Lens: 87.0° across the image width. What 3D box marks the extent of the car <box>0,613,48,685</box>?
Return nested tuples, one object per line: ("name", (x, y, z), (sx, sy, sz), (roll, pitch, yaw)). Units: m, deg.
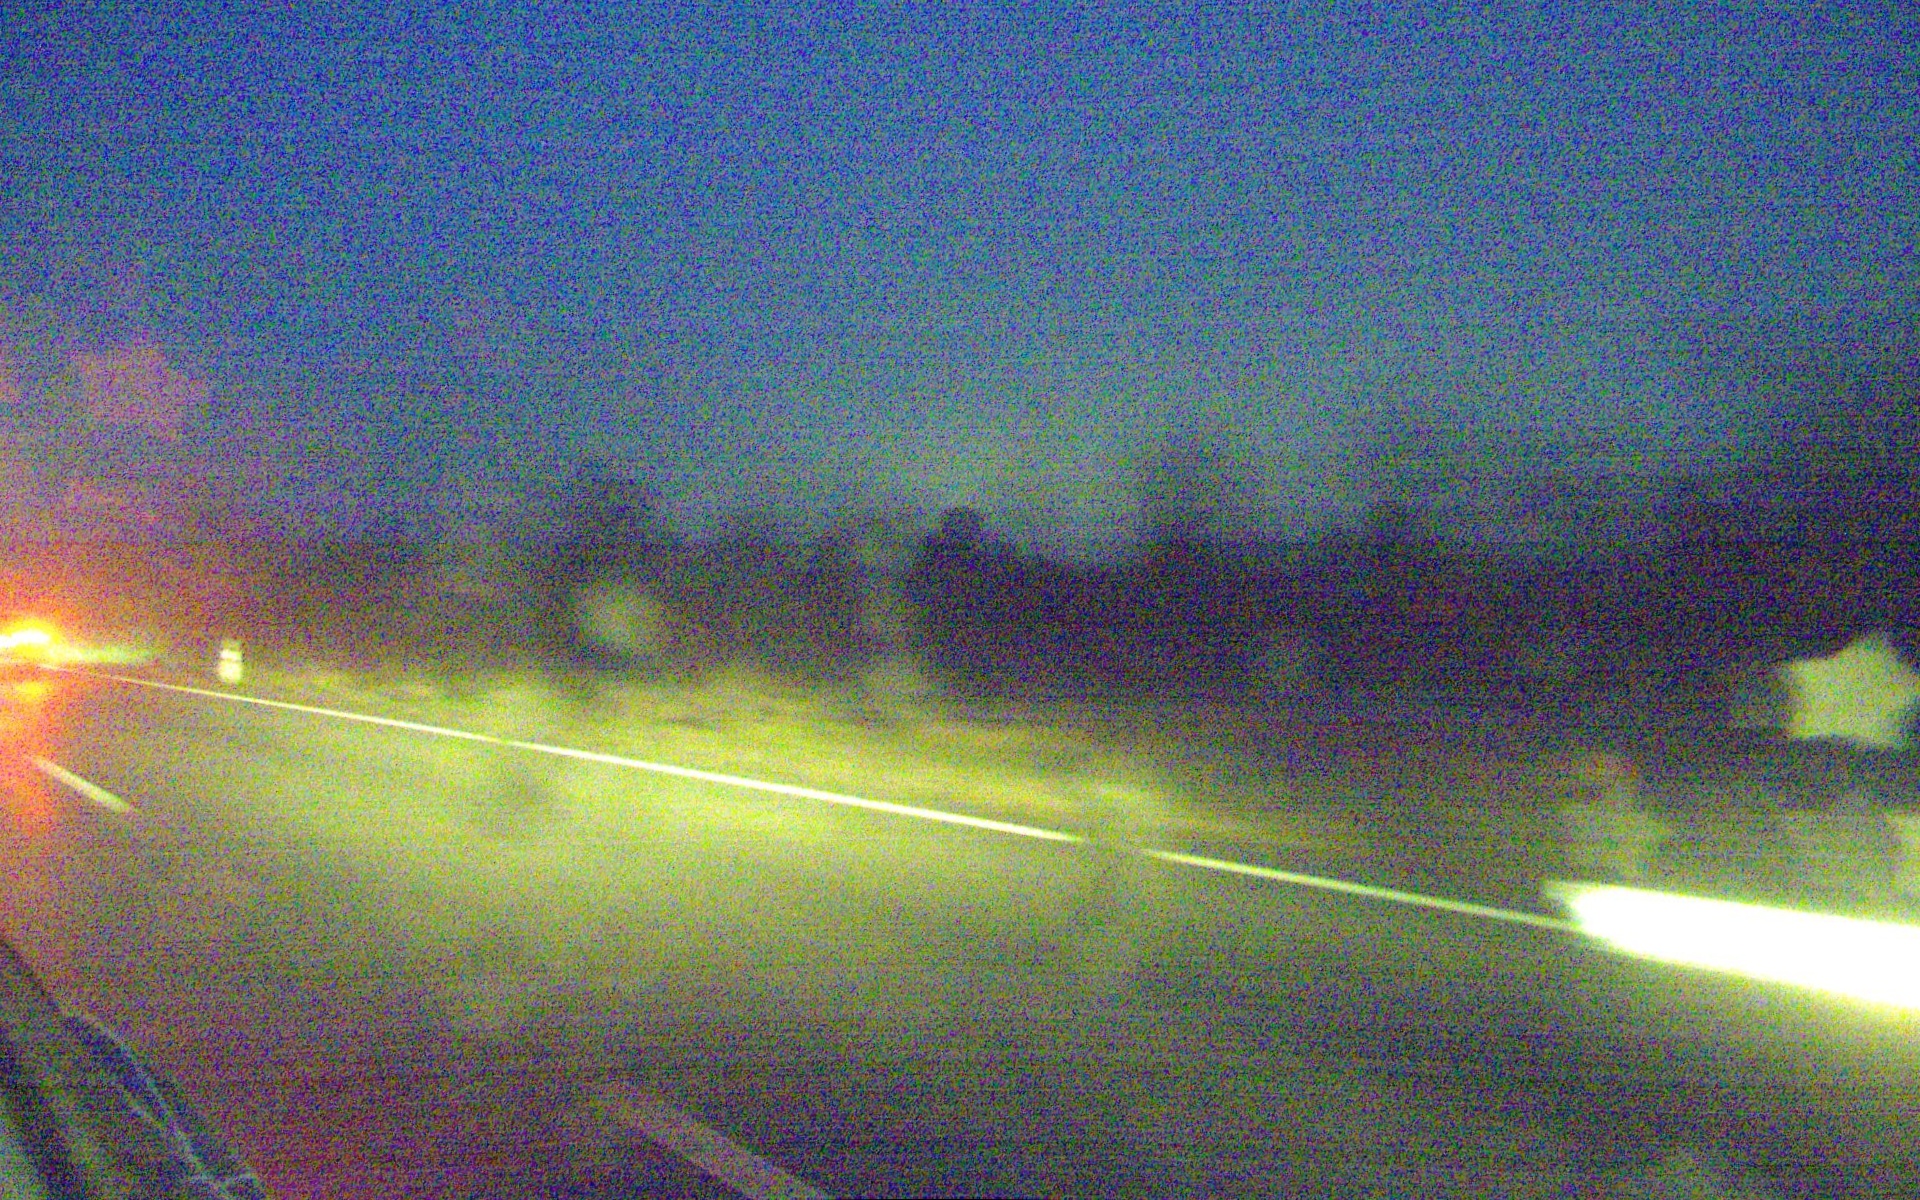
("car", (-23.726, 1.167, 24.481), (3.997, 1.636, 1.973), (-1, -1, 41))
